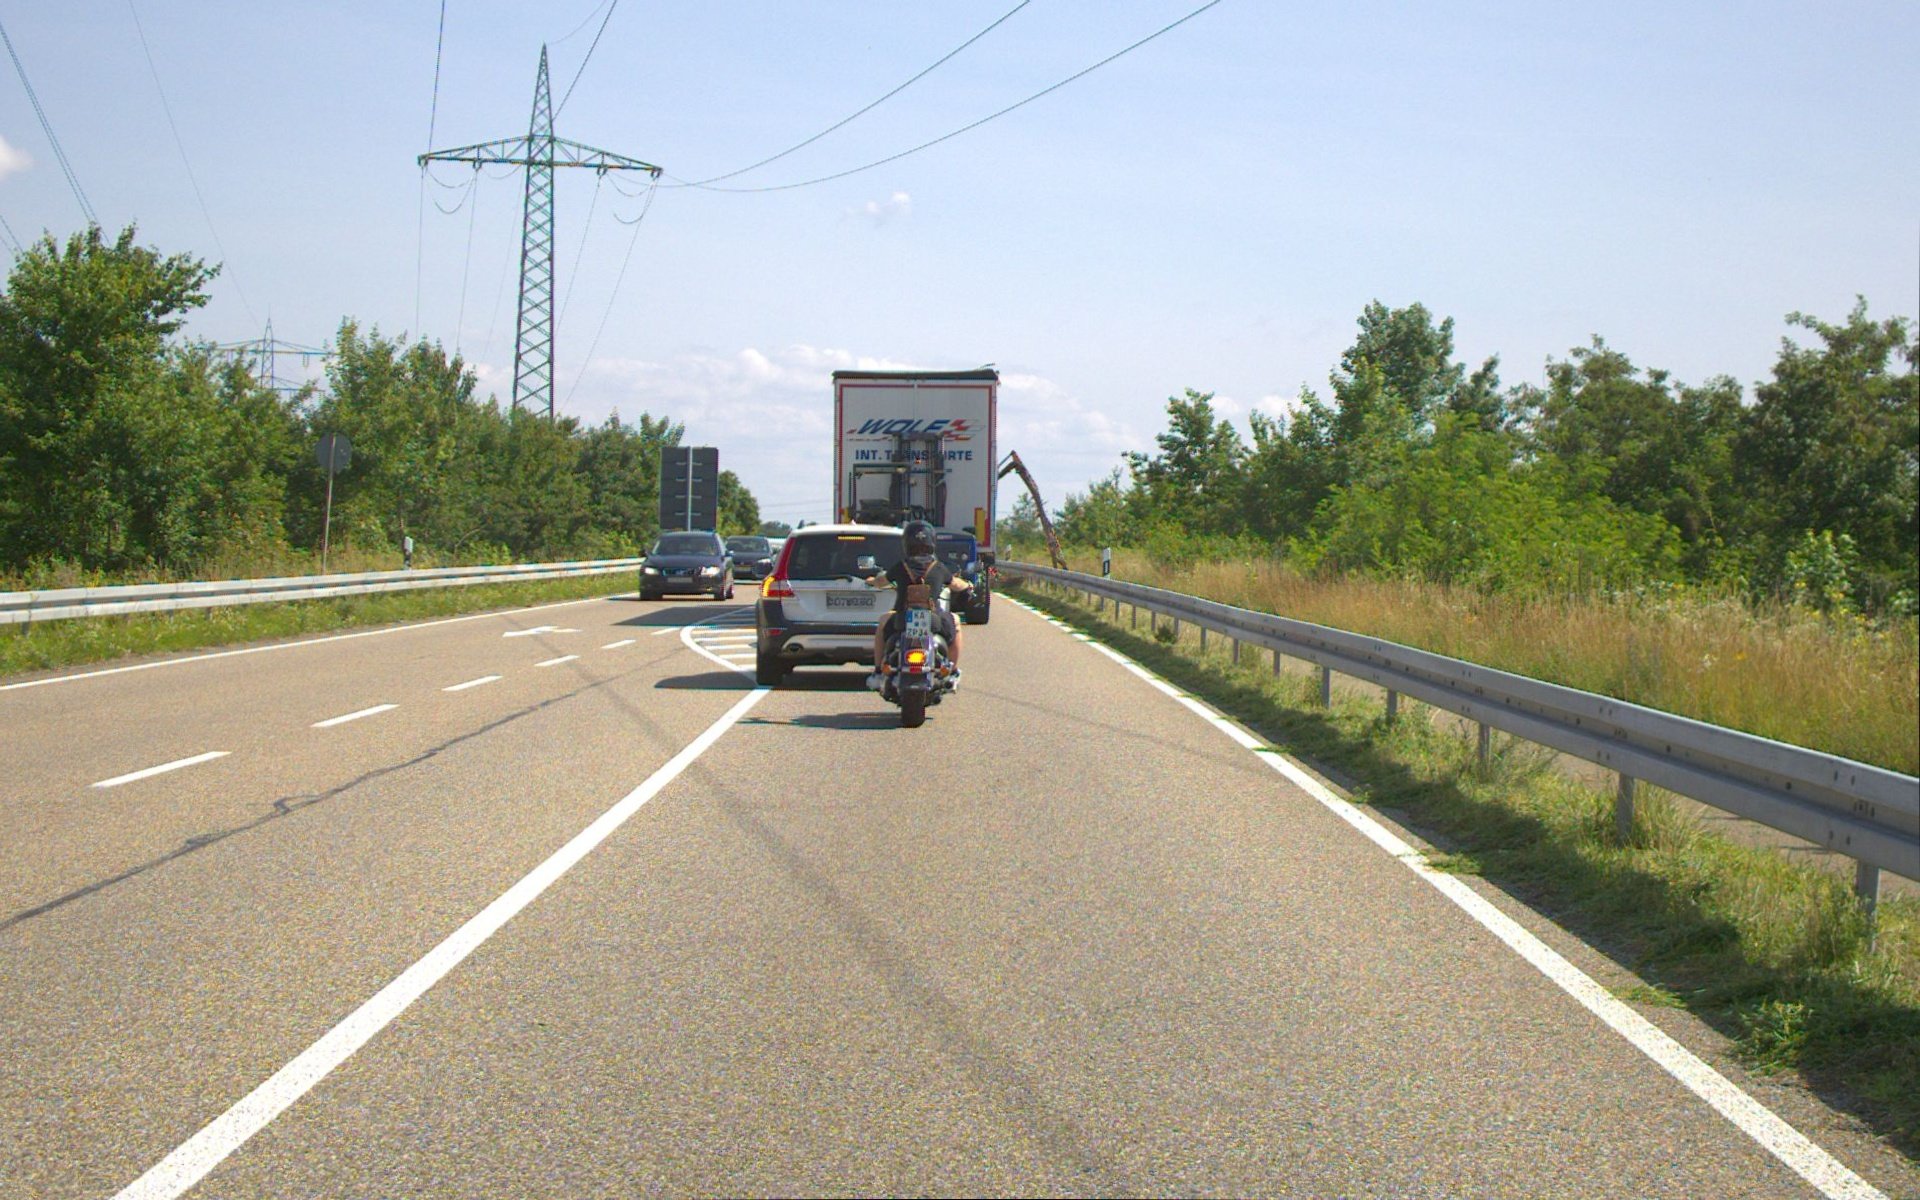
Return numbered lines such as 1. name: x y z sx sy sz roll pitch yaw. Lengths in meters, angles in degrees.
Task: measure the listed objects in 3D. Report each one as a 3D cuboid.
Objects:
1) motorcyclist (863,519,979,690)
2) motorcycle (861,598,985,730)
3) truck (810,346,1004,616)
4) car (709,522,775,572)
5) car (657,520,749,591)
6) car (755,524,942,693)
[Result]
1. motorcyclist: -0.309 0.024 26.367 0.837 1.276 0.919 1 1 -3
2. motorcycle: -0.304 0.468 26.293 0.859 0.912 2.228 1 1 -3
3. truck: -0.770 -2.011 61.063 2.968 4.172 14.822 1 1 0
4. car: -6.422 -1.586 101.742 1.659 1.437 4.214 1 1 0
5. car: -5.582 -0.996 75.153 1.727 1.486 4.423 1 1 -1
6. car: -1.044 0.041 33.472 1.701 1.531 3.499 1 1 0
